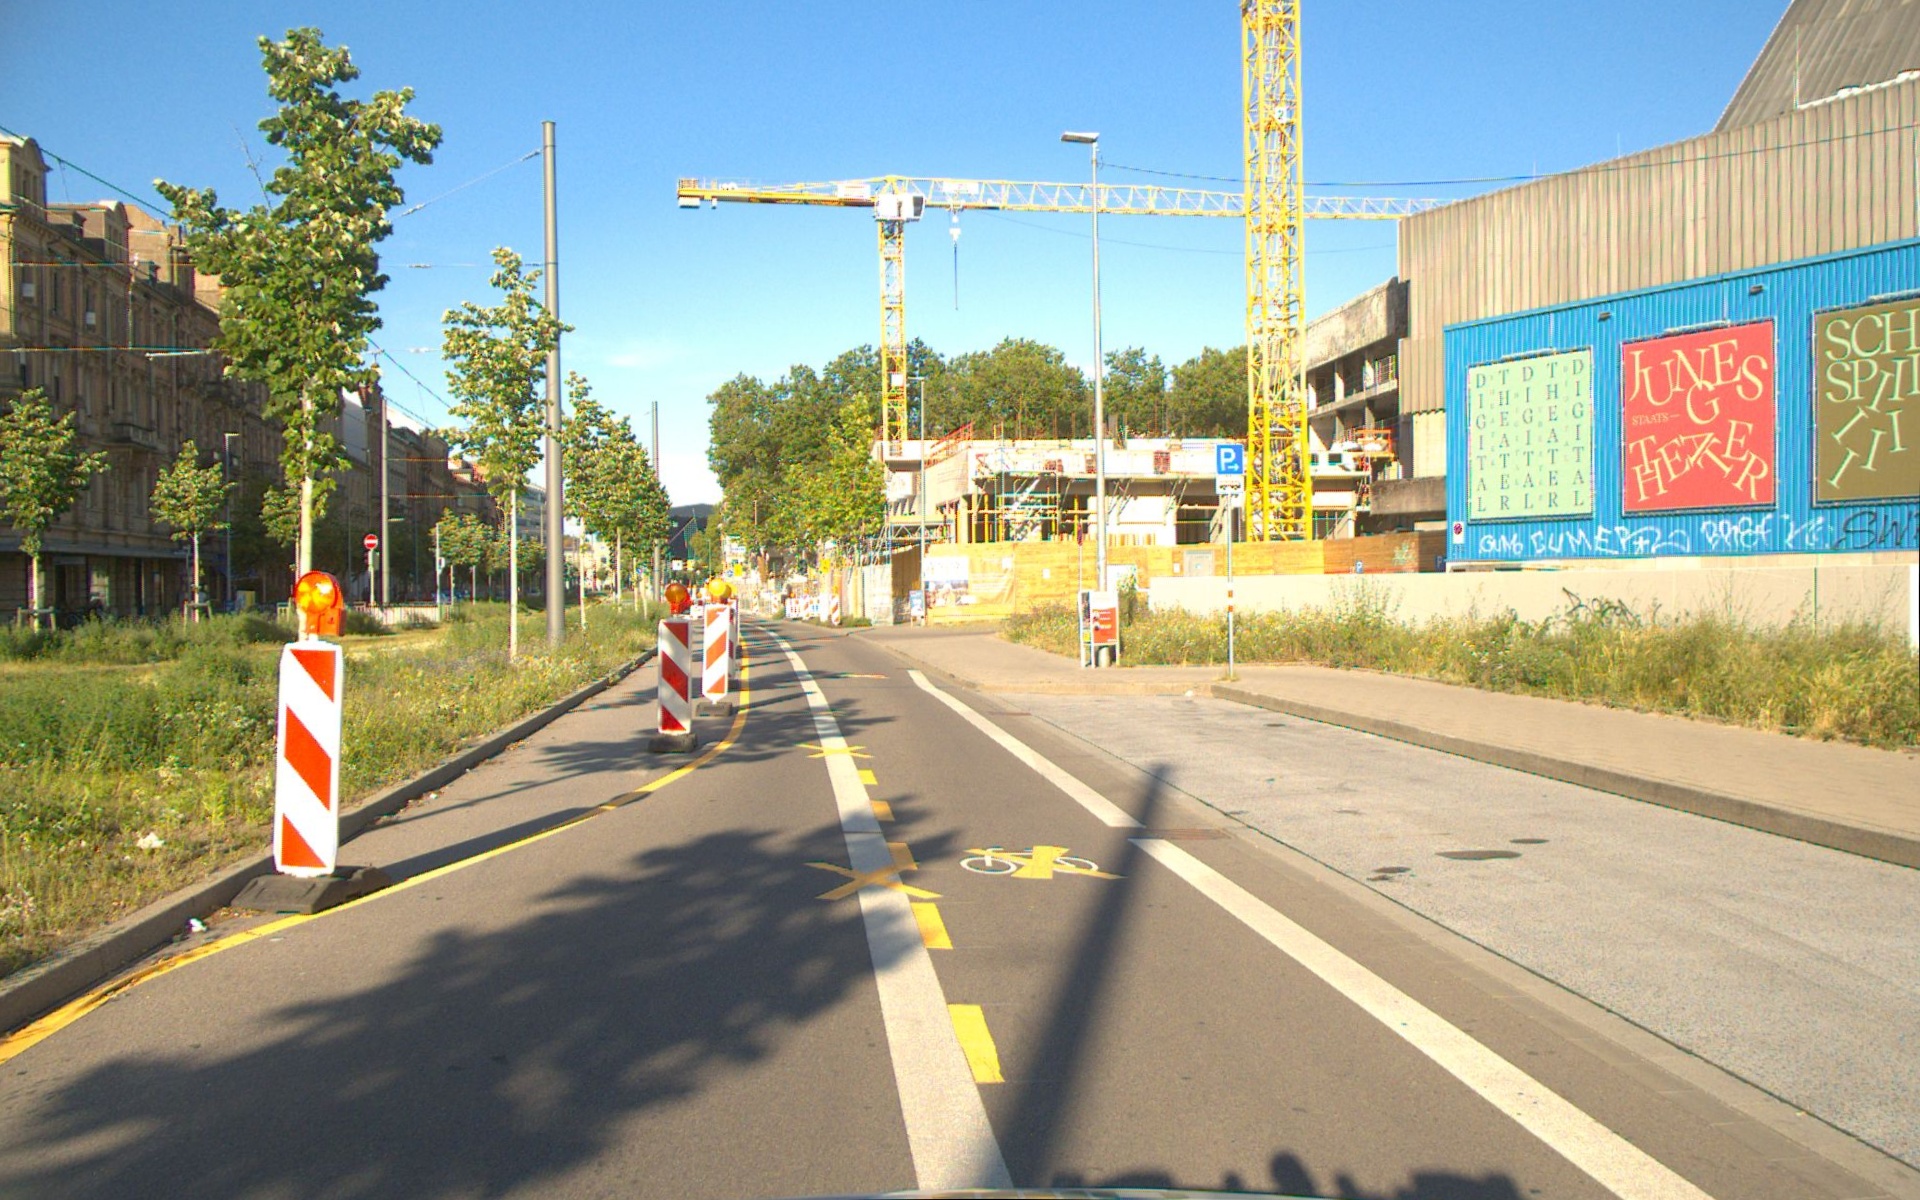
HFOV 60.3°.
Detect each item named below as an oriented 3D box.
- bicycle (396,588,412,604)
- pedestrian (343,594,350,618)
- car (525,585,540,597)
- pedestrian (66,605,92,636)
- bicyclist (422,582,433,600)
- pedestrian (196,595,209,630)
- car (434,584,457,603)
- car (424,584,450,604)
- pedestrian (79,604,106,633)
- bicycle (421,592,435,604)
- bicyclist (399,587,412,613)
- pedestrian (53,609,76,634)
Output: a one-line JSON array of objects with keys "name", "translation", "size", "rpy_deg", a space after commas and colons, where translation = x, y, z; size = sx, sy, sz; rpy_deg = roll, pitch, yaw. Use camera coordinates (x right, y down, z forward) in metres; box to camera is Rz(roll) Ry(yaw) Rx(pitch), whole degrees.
[{"name": "bicycle", "translation": [-36.280, -0.269, 107.965], "size": [0.682, 0.995, 1.823], "rpy_deg": [0, 0, -10]}, {"name": "pedestrian", "translation": [-45.613, 0.438, 123.015], "size": [0.360, 1.795, 0.405], "rpy_deg": [1, -1, -11]}, {"name": "car", "translation": [-55.155, -1.139, 213.280], "size": [1.566, 1.509, 3.615], "rpy_deg": [-1, 0, -10]}, {"name": "pedestrian", "translation": [-37.359, 0.863, 70.150], "size": [0.677, 1.268, 0.927], "rpy_deg": [0, 0, -10]}, {"name": "bicyclist", "translation": [-38.469, -0.654, 119.509], "size": [0.625, 1.261, 0.737], "rpy_deg": [0, 0, -10]}, {"name": "pedestrian", "translation": [-38.513, 0.641, 84.076], "size": [0.499, 1.795, 0.405], "rpy_deg": [1, -1, -12]}, {"name": "car", "translation": [-45.825, -0.610, 147.388], "size": [1.539, 1.590, 4.701], "rpy_deg": [-1, 1, -12]}, {"name": "car", "translation": [-44.064, -0.536, 139.353], "size": [1.538, 1.590, 4.702], "rpy_deg": [-1, 1, -11]}, {"name": "pedestrian", "translation": [-37.759, 0.794, 72.010], "size": [0.777, 1.229, 0.927], "rpy_deg": [0, 0, -10]}, {"name": "bicycle", "translation": [-38.486, -0.141, 119.638], "size": [0.625, 0.872, 2.026], "rpy_deg": [-1, 0, -10]}, {"name": "bicyclist", "translation": [-36.378, -0.021, 108.456], "size": [0.682, 1.686, 0.880], "rpy_deg": [0, 0, -10]}, {"name": "pedestrian", "translation": [-38.289, 0.921, 70.735], "size": [0.677, 1.078, 0.734], "rpy_deg": [0, 0, -10]}]
